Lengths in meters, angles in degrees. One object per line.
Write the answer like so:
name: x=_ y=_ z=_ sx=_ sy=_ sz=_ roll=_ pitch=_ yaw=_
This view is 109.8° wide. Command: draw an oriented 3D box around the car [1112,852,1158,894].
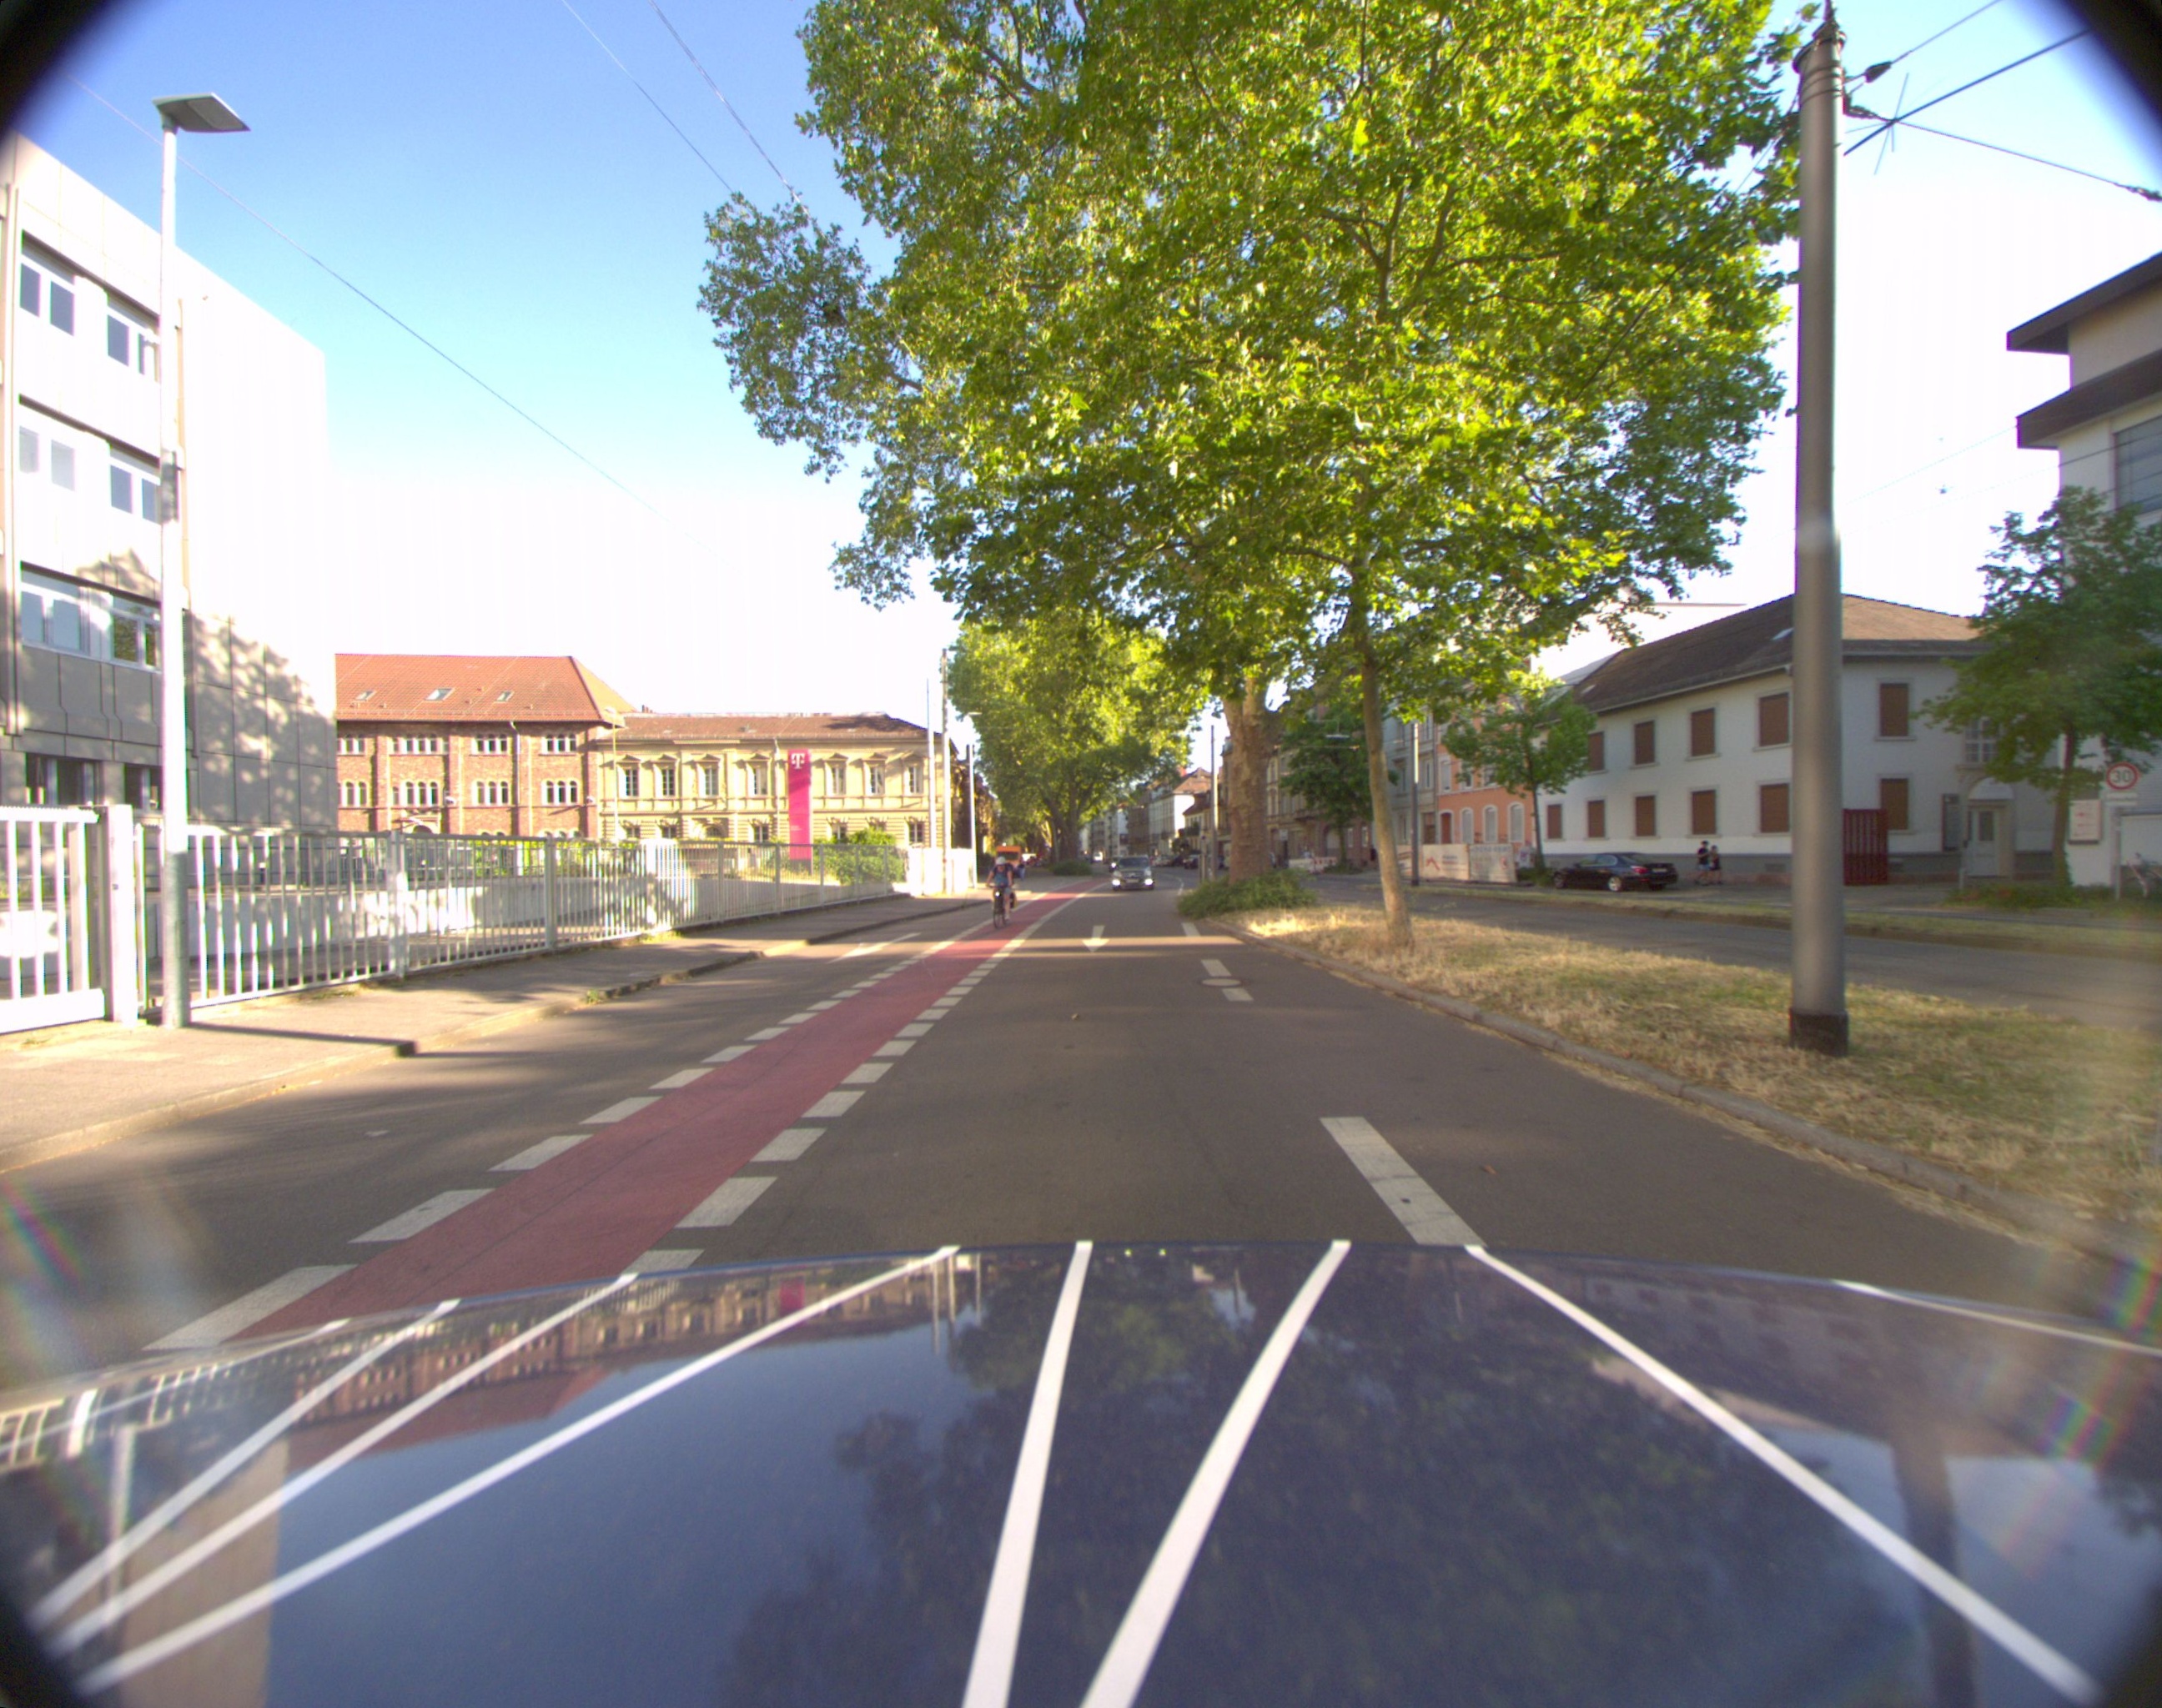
car: x=2.539 y=0.830 z=35.400 sx=1.907 sy=1.634 sz=4.518 roll=-3 pitch=1 yaw=5

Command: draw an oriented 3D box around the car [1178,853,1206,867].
car: x=13.541 y=0.700 z=92.916 sx=2.088 sy=1.531 sz=4.513 roll=-4 pitch=1 yaw=-7

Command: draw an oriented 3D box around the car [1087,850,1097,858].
car: x=2.470 y=0.014 z=171.322 sx=1.999 sy=1.741 sz=3.998 roll=-2 pitch=1 yaw=-4

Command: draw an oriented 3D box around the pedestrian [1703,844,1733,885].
pedestrian: x=24.063 y=0.385 z=28.697 sx=0.537 sy=1.519 sz=0.711 roll=-1 pitch=1 yaw=-5

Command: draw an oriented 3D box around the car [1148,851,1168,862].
car: x=11.615 y=0.375 z=114.870 sx=2.088 sy=1.531 sz=4.036 roll=-4 pitch=1 yaw=-7

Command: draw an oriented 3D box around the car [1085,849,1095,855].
car: x=2.555 y=-0.689 z=218.649 sx=2.088 sy=1.531 sz=4.124 roll=-4 pitch=1 yaw=-7

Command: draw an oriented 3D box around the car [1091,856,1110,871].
car: x=2.107 y=1.014 z=80.948 sx=1.998 sy=1.376 sz=4.000 roll=-2 pitch=1 yaw=2

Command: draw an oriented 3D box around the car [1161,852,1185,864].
car: x=12.766 y=0.482 z=105.991 sx=2.088 sy=1.531 sz=5.101 roll=-4 pitch=1 yaw=-7

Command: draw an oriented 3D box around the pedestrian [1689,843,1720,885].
pedestrian: x=23.106 y=0.360 z=28.152 sx=0.537 sy=1.519 sz=0.711 roll=-1 pitch=1 yaw=-11

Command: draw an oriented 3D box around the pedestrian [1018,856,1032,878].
pedestrian: x=-3.831 y=0.900 z=52.172 sx=0.898 sy=1.464 sz=0.810 roll=-1 pitch=1 yaw=2

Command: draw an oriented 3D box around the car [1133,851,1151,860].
car: x=10.491 y=0.259 z=130.701 sx=2.088 sy=1.531 sz=4.253 roll=-4 pitch=1 yaw=-7

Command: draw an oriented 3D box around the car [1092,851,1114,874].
car: x=2.125 y=0.762 z=72.383 sx=1.998 sy=2.002 sz=4.000 roll=-2 pitch=1 yaw=2

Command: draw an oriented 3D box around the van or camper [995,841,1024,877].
van or camper: x=-5.442 y=0.356 z=58.700 sx=1.999 sy=2.578 sz=5.623 roll=-2 pitch=1 yaw=-4

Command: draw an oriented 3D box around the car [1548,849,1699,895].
car: x=20.531 y=0.623 z=29.046 sx=2.088 sy=1.462 sz=4.576 roll=-4 pitch=1 yaw=-7

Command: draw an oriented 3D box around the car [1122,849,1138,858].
car: x=9.023 y=-0.033 z=140.911 sx=2.088 sy=1.531 sz=4.006 roll=-4 pitch=1 yaw=-7

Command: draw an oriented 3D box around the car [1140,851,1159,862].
car: x=10.820 y=0.339 z=120.791 sx=2.088 sy=1.531 sz=4.095 roll=-4 pitch=1 yaw=-7

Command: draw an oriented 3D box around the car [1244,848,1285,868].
car: x=16.899 y=0.370 z=70.144 sx=2.088 sy=1.664 sz=4.530 roll=-4 pitch=1 yaw=-7

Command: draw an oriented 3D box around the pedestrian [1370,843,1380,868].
pedestrian: x=21.725 y=0.119 z=56.208 sx=0.561 sy=1.798 sz=0.705 roll=-1 pitch=1 yaw=8

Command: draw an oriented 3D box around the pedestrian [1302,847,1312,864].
pedestrian: x=20.302 y=0.116 z=68.270 sx=0.642 sy=1.519 sz=0.615 roll=-1 pitch=1 yaw=-14

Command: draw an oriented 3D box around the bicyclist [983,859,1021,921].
bicyclist: x=-1.881 y=0.860 z=18.261 sx=0.727 sy=1.414 sz=0.859 roll=-2 pitch=1 yaw=3

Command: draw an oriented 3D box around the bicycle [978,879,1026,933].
bicycle: x=-1.867 y=1.221 z=18.329 sx=0.764 sy=1.137 sz=2.307 roll=-1 pitch=0 yaw=3
